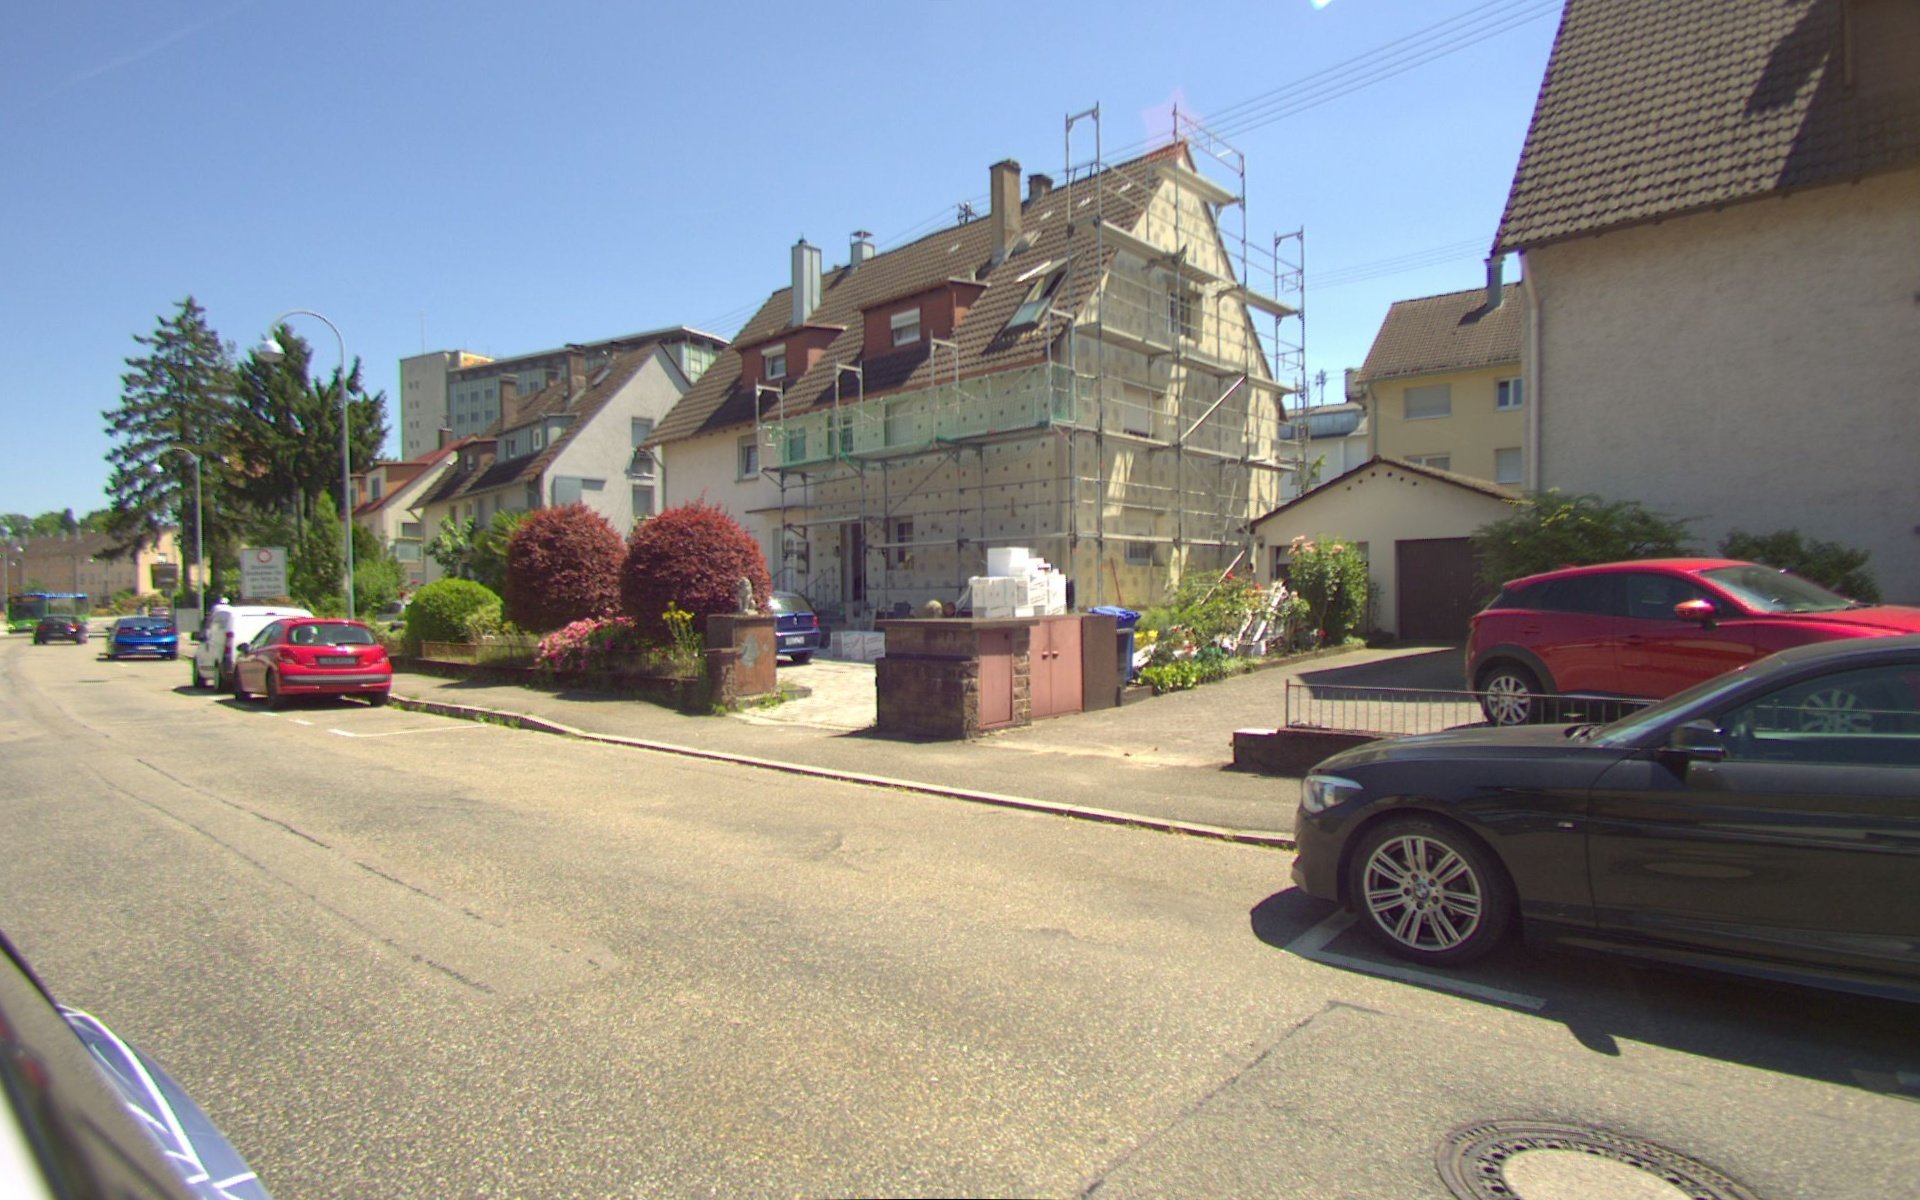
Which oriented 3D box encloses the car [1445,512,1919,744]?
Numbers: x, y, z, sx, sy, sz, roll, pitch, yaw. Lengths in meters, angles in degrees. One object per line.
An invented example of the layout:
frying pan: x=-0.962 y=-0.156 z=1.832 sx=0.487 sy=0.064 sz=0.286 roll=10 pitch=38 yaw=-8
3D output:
car: x=6.409 y=0.197 z=8.412 sx=1.620 sy=1.523 sz=4.125 roll=-4 pitch=-1 yaw=-23

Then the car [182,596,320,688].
car: x=-14.855 y=0.840 z=21.137 sx=1.703 sy=1.749 sz=3.889 roll=2 pitch=-2 yaw=-45

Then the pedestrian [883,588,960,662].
pedestrian: x=-0.701 y=0.436 z=18.425 sx=1.207 sy=1.273 sz=0.698 roll=0 pitch=3 yaw=31

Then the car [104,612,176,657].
car: x=-28.047 y=1.151 z=34.565 sx=1.747 sy=1.450 sz=4.368 roll=2 pitch=-2 yaw=-41

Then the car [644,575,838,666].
car: x=-4.418 y=0.384 z=20.096 sx=3.999 sy=1.525 sz=1.668 roll=-1 pitch=4 yaw=42

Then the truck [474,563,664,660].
truck: x=-9.023 y=0.207 z=23.557 sx=1.547 sy=1.952 sz=3.727 roll=-1 pitch=2 yaw=44

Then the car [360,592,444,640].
car: x=-20.994 y=0.563 z=38.022 sx=1.748 sy=1.519 sz=4.367 roll=-3 pitch=4 yaw=-42

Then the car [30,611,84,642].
car: x=-43.330 y=1.239 z=48.626 sx=1.710 sy=1.427 sz=4.008 roll=1 pitch=-1 yaw=-39

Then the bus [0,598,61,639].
bus: x=-76.306 y=1.447 z=83.238 sx=2.867 sy=3.103 sz=12.585 roll=-1 pitch=0 yaw=-39

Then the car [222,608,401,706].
car: x=-11.319 y=0.923 z=17.549 sx=4.060 sy=1.489 sz=1.740 roll=-1 pitch=-2 yaw=45

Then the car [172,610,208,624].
car: x=-82.859 y=1.819 z=108.942 sx=1.780 sy=1.500 sz=4.400 roll=1 pitch=-1 yaw=-20

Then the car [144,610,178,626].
car: x=-78.115 y=1.757 z=99.035 sx=1.716 sy=1.516 sz=4.156 roll=1 pitch=-1 yaw=-25

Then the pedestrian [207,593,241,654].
pedestrian: x=-23.830 y=0.748 z=32.757 sx=0.681 sy=1.903 sz=1.021 roll=-7 pitch=4 yaw=-39

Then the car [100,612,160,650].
car: x=-32.512 y=1.200 z=39.615 sx=1.559 sy=1.434 sz=3.945 roll=2 pitch=-2 yaw=-42

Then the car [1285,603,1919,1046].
car: x=3.609 y=0.732 z=3.824 sx=4.233 sy=1.395 sz=1.681 roll=-1 pitch=-2 yaw=41
